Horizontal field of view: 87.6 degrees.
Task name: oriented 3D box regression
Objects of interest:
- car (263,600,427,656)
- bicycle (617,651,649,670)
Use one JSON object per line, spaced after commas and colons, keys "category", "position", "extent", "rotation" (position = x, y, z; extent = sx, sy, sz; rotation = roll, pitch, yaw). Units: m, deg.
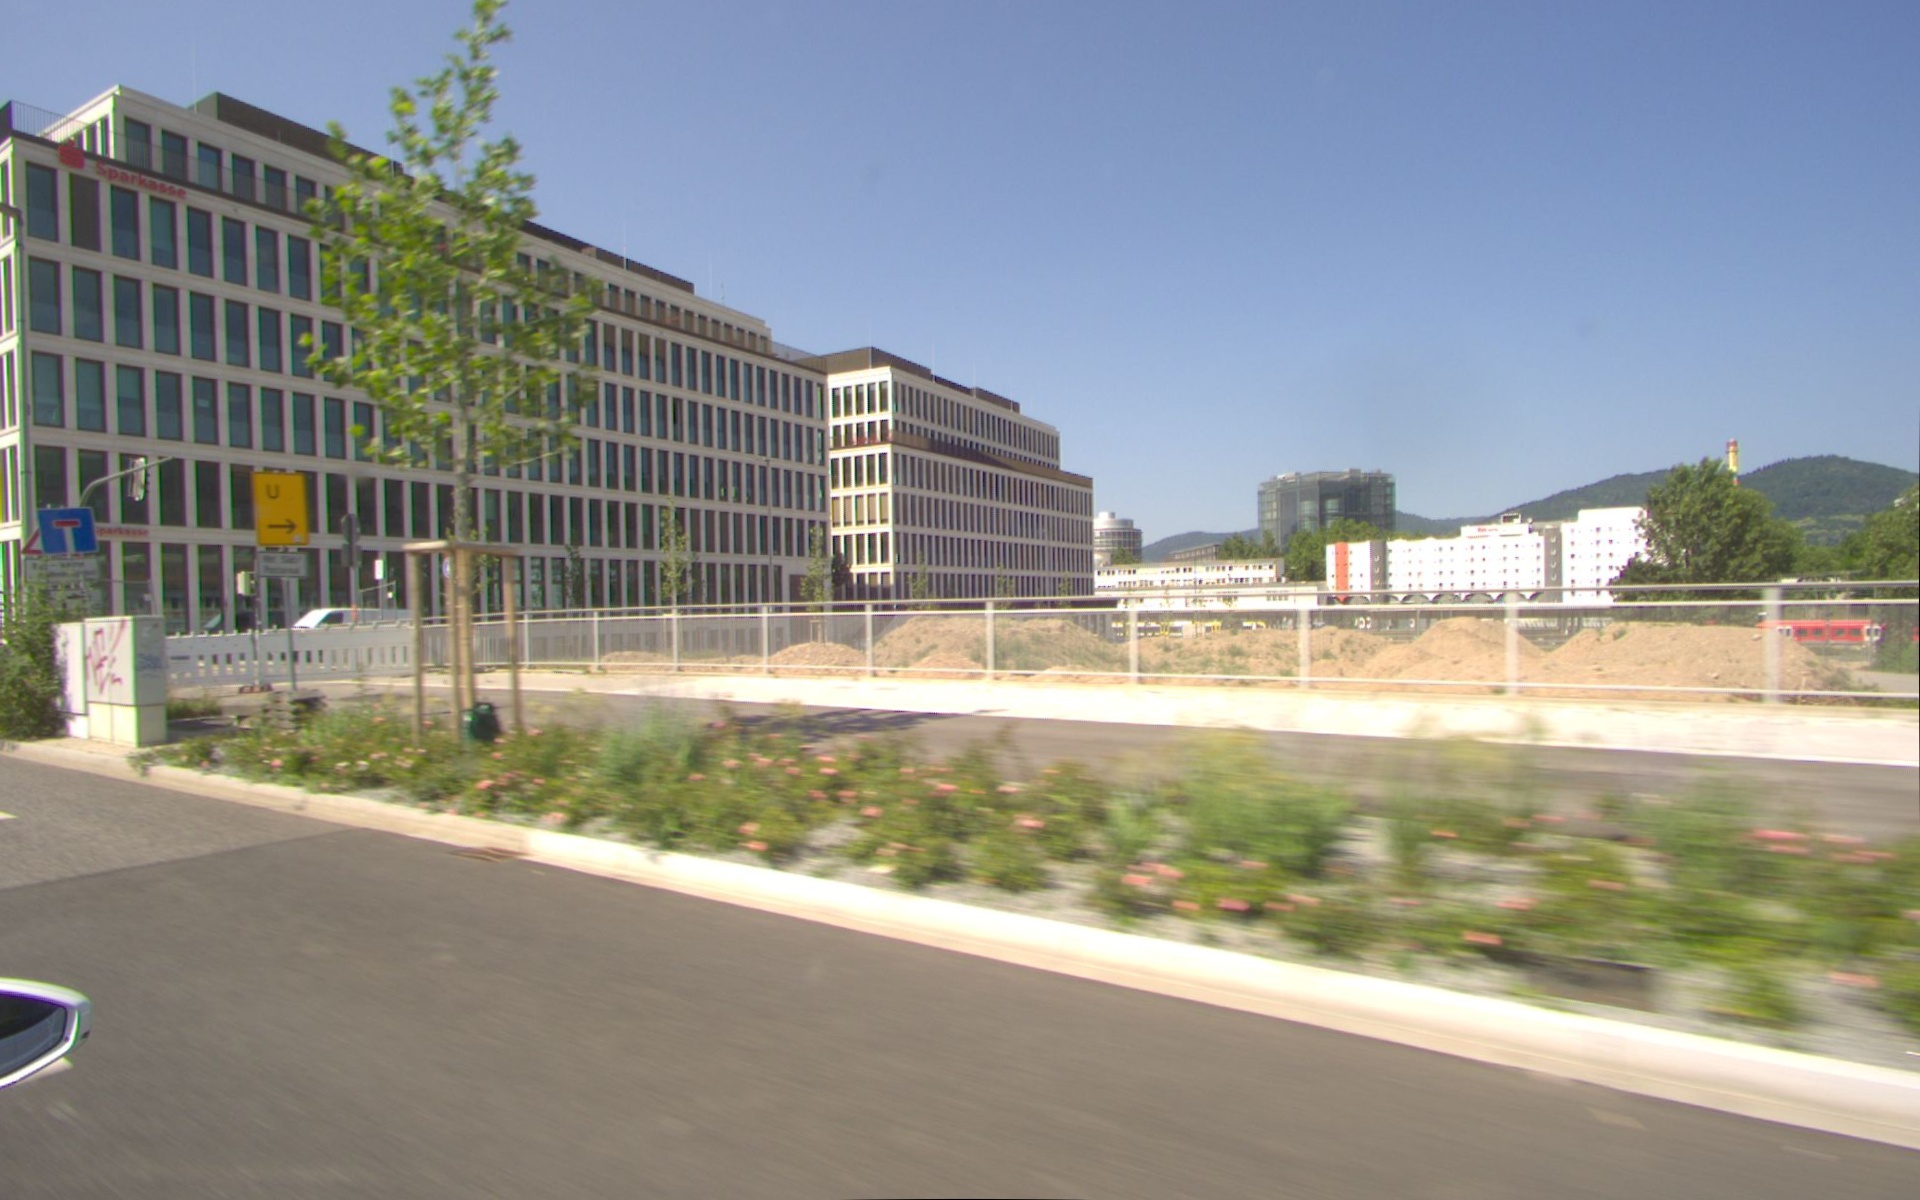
{"category": "car", "position": [-27.052, 1.279, 44.265], "extent": [2.116, 2.299, 5.827], "rotation": [0, -2, 33]}
{"category": "bicycle", "position": [-18.343, 3.374, 56.169], "extent": [1.960, 1.005, 0.705], "rotation": [-1, 0, 36]}
